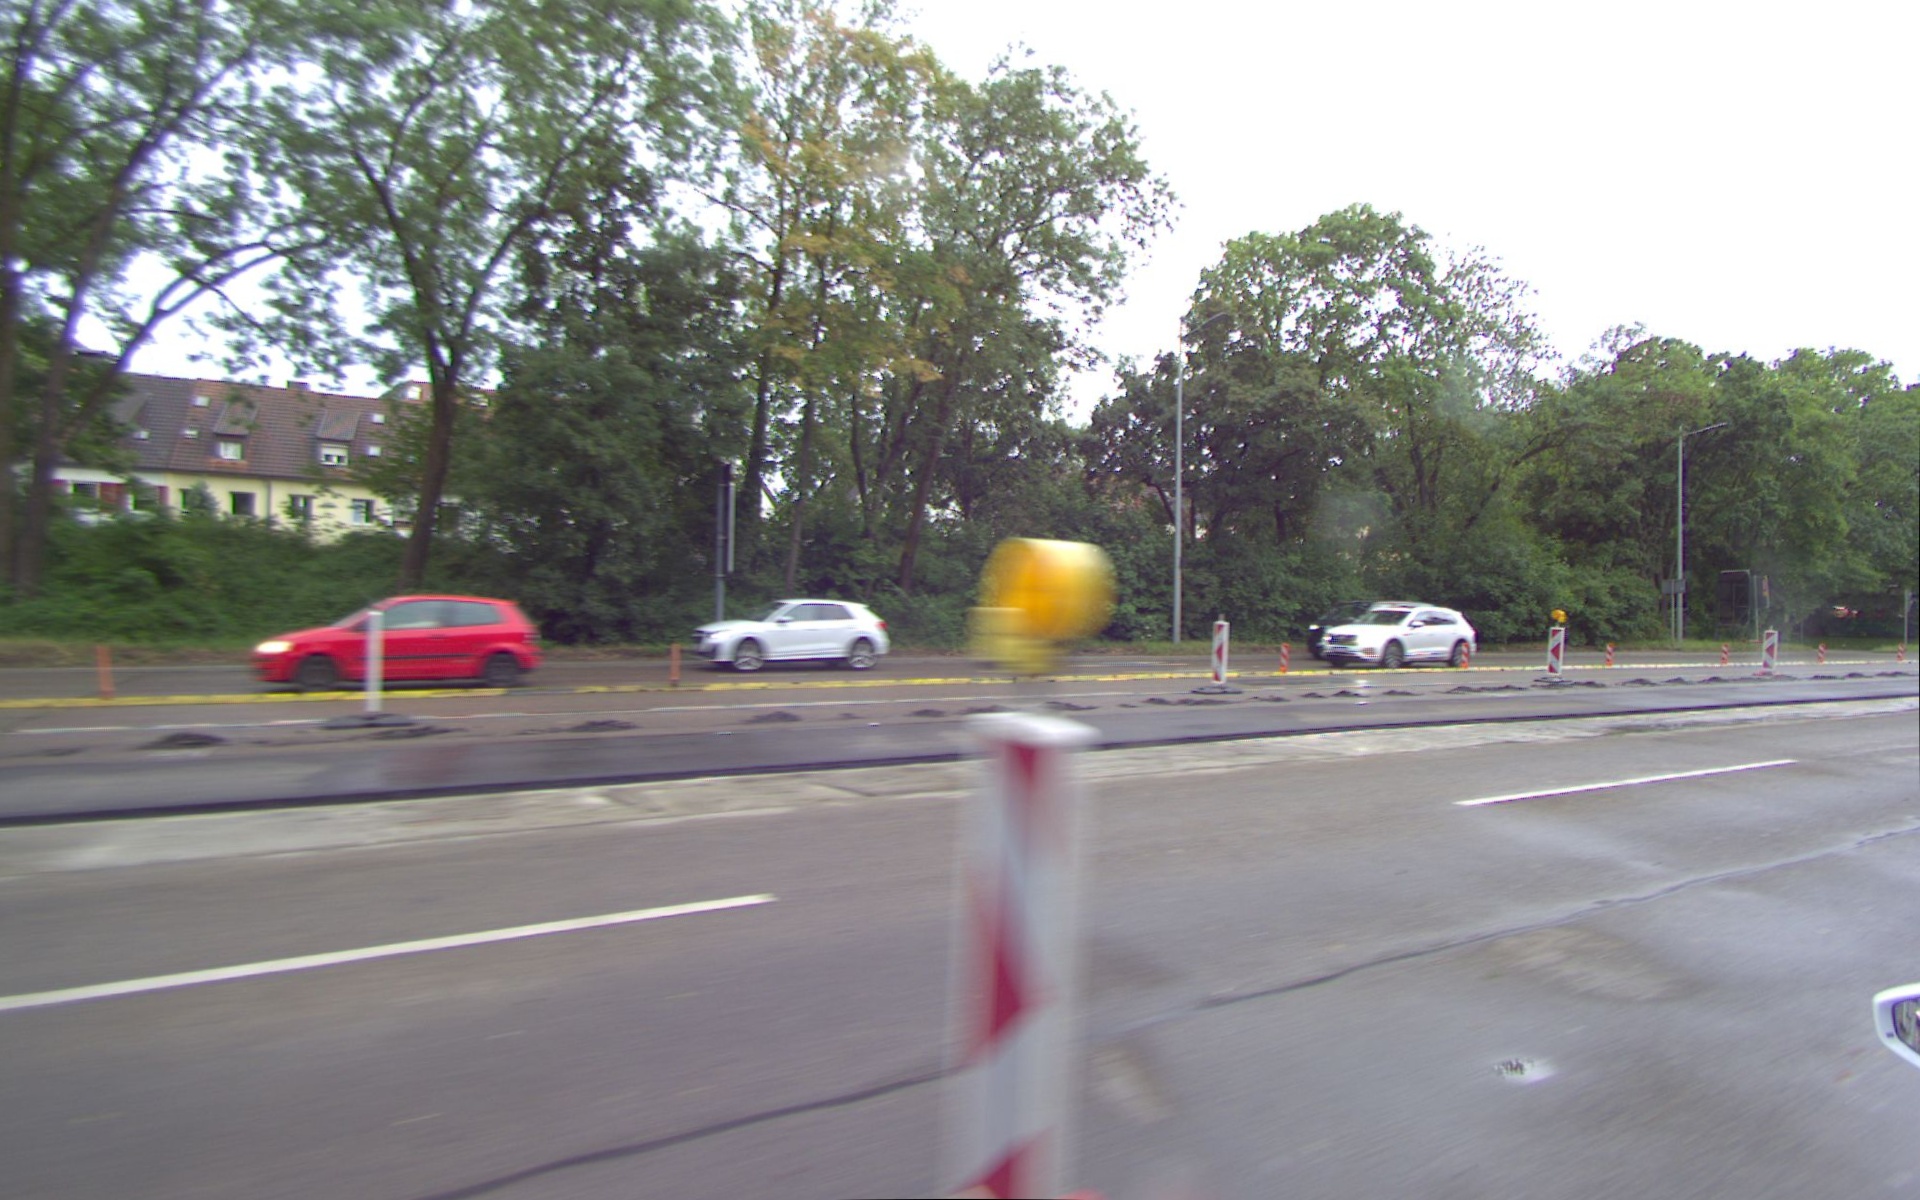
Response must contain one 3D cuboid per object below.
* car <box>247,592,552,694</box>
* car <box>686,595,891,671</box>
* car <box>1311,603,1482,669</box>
[{"bbox_3d":[-8.636,0.640,15.741,3.966,1.419,1.671,1,0,-31],"label":"car"},{"bbox_3d":[-3.696,0.727,21.882,4.101,1.516,1.671,1,-2,-31],"label":"car"},{"bbox_3d":[12.137,0.978,27.818,4.837,1.683,1.880,1,0,-31],"label":"car"}]
